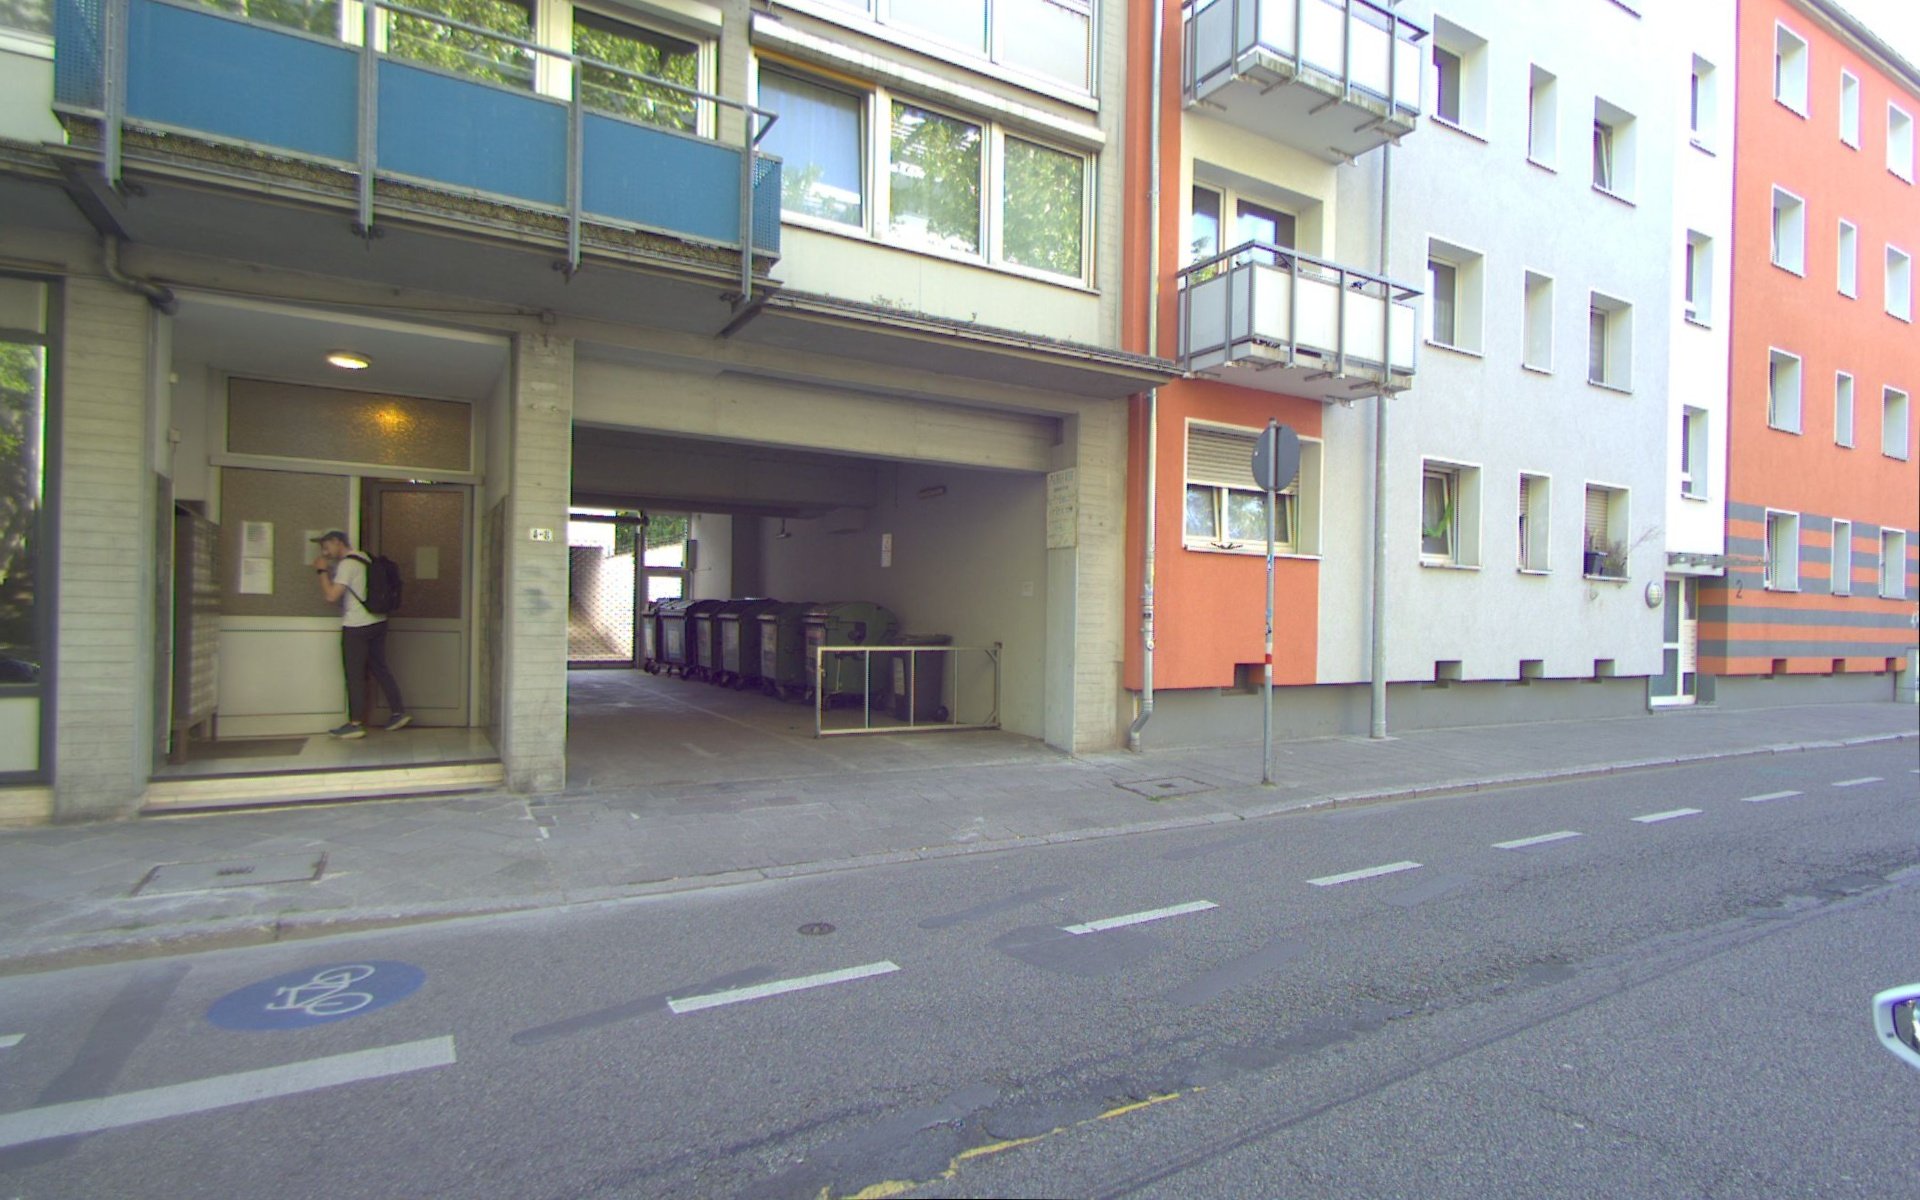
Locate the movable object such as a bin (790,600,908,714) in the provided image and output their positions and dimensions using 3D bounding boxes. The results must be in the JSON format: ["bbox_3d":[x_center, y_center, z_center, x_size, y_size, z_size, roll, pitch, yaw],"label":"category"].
[{"bbox_3d":[-1.545,0.750,13.812,1.159,1.467,1.319,2,0,-30],"label":"movable object such as a bin"}]

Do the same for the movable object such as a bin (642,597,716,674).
[{"bbox_3d":[-5.598,0.699,19.992,1.186,1.467,1.027,2,0,-30],"label":"movable object such as a bin"}]

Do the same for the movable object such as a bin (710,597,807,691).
[{"bbox_3d":[-3.352,0.710,16.630,1.186,1.467,1.319,2,0,-30],"label":"movable object such as a bin"}]

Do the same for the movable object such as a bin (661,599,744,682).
[{"bbox_3d":[-4.822,0.734,18.763,1.186,1.467,1.222,2,0,-30],"label":"movable object such as a bin"}]

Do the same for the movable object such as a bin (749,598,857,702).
[{"bbox_3d":[-2.385,0.732,15.146,1.186,1.467,1.319,2,0,-30],"label":"movable object such as a bin"}]

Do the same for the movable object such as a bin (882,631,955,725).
[{"bbox_3d":[-0.517,0.950,12.421,0.745,1.116,0.463,2,0,-30],"label":"movable object such as a bin"}]

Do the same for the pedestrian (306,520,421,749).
[{"bbox_3d":[-5.180,0.295,8.759,0.776,1.904,0.577,2,0,-27],"label":"pedestrian"}]

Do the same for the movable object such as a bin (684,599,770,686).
[{"bbox_3d":[-4.123,0.732,17.721,1.186,1.467,1.114,2,0,-30],"label":"movable object such as a bin"}]
